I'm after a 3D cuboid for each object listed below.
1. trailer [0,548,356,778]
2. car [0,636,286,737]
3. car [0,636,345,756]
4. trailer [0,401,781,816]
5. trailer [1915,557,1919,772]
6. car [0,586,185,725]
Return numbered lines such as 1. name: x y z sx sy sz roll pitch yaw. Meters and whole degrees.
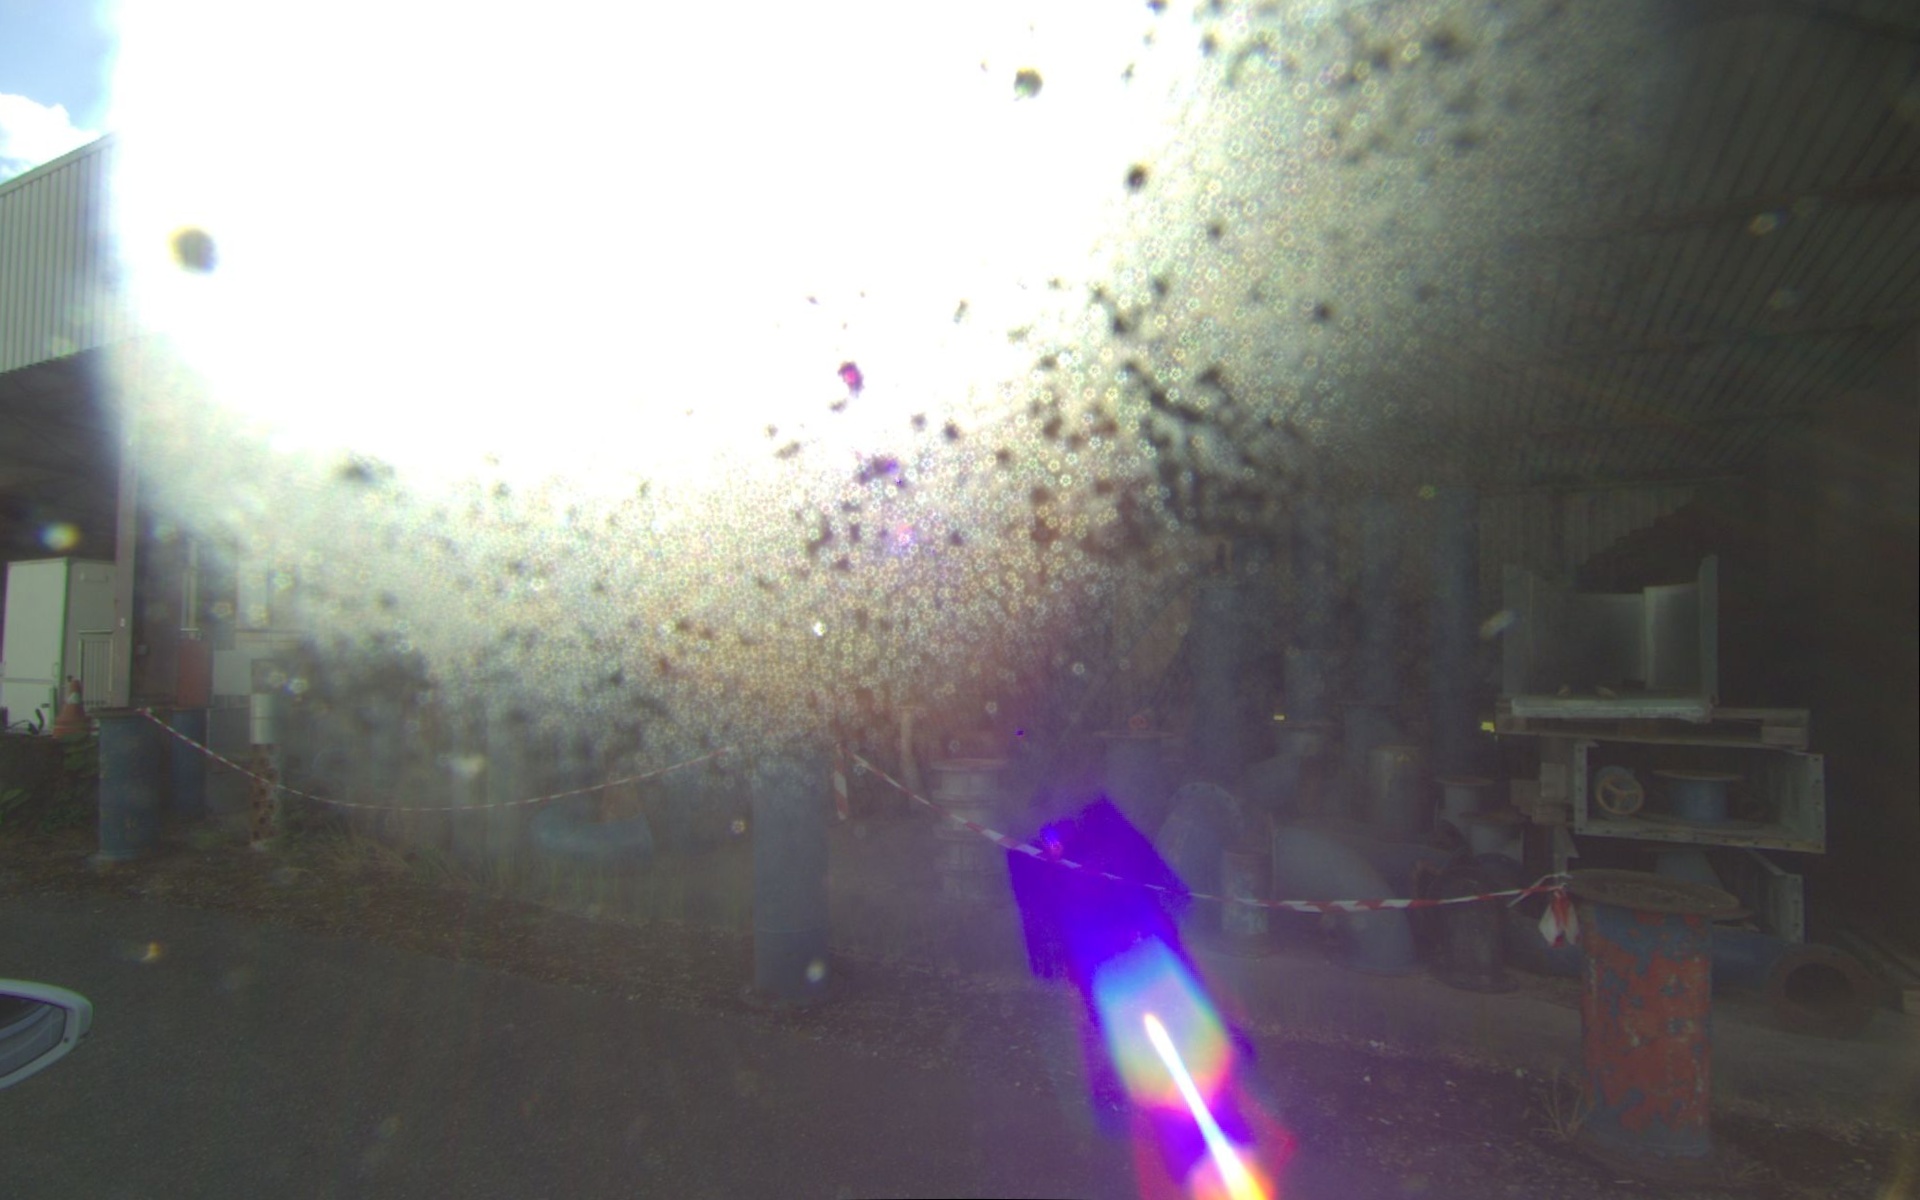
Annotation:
1. trailer: -9.964 0.701 11.942 1.662 2.365 4.541 -1 -2 27
2. car: -13.857 1.331 16.604 1.821 1.472 4.108 -1 -2 26
3. car: -11.572 1.248 14.440 1.834 1.451 4.347 -1 -2 23
4. trailer: -6.578 0.244 13.180 2.633 3.337 10.291 -1 -2 27
5. trailer: 6.363 0.616 4.358 2.016 2.022 4.814 -1 -2 29
6. car: -16.993 0.957 17.374 2.051 2.326 5.219 -1 -3 26
